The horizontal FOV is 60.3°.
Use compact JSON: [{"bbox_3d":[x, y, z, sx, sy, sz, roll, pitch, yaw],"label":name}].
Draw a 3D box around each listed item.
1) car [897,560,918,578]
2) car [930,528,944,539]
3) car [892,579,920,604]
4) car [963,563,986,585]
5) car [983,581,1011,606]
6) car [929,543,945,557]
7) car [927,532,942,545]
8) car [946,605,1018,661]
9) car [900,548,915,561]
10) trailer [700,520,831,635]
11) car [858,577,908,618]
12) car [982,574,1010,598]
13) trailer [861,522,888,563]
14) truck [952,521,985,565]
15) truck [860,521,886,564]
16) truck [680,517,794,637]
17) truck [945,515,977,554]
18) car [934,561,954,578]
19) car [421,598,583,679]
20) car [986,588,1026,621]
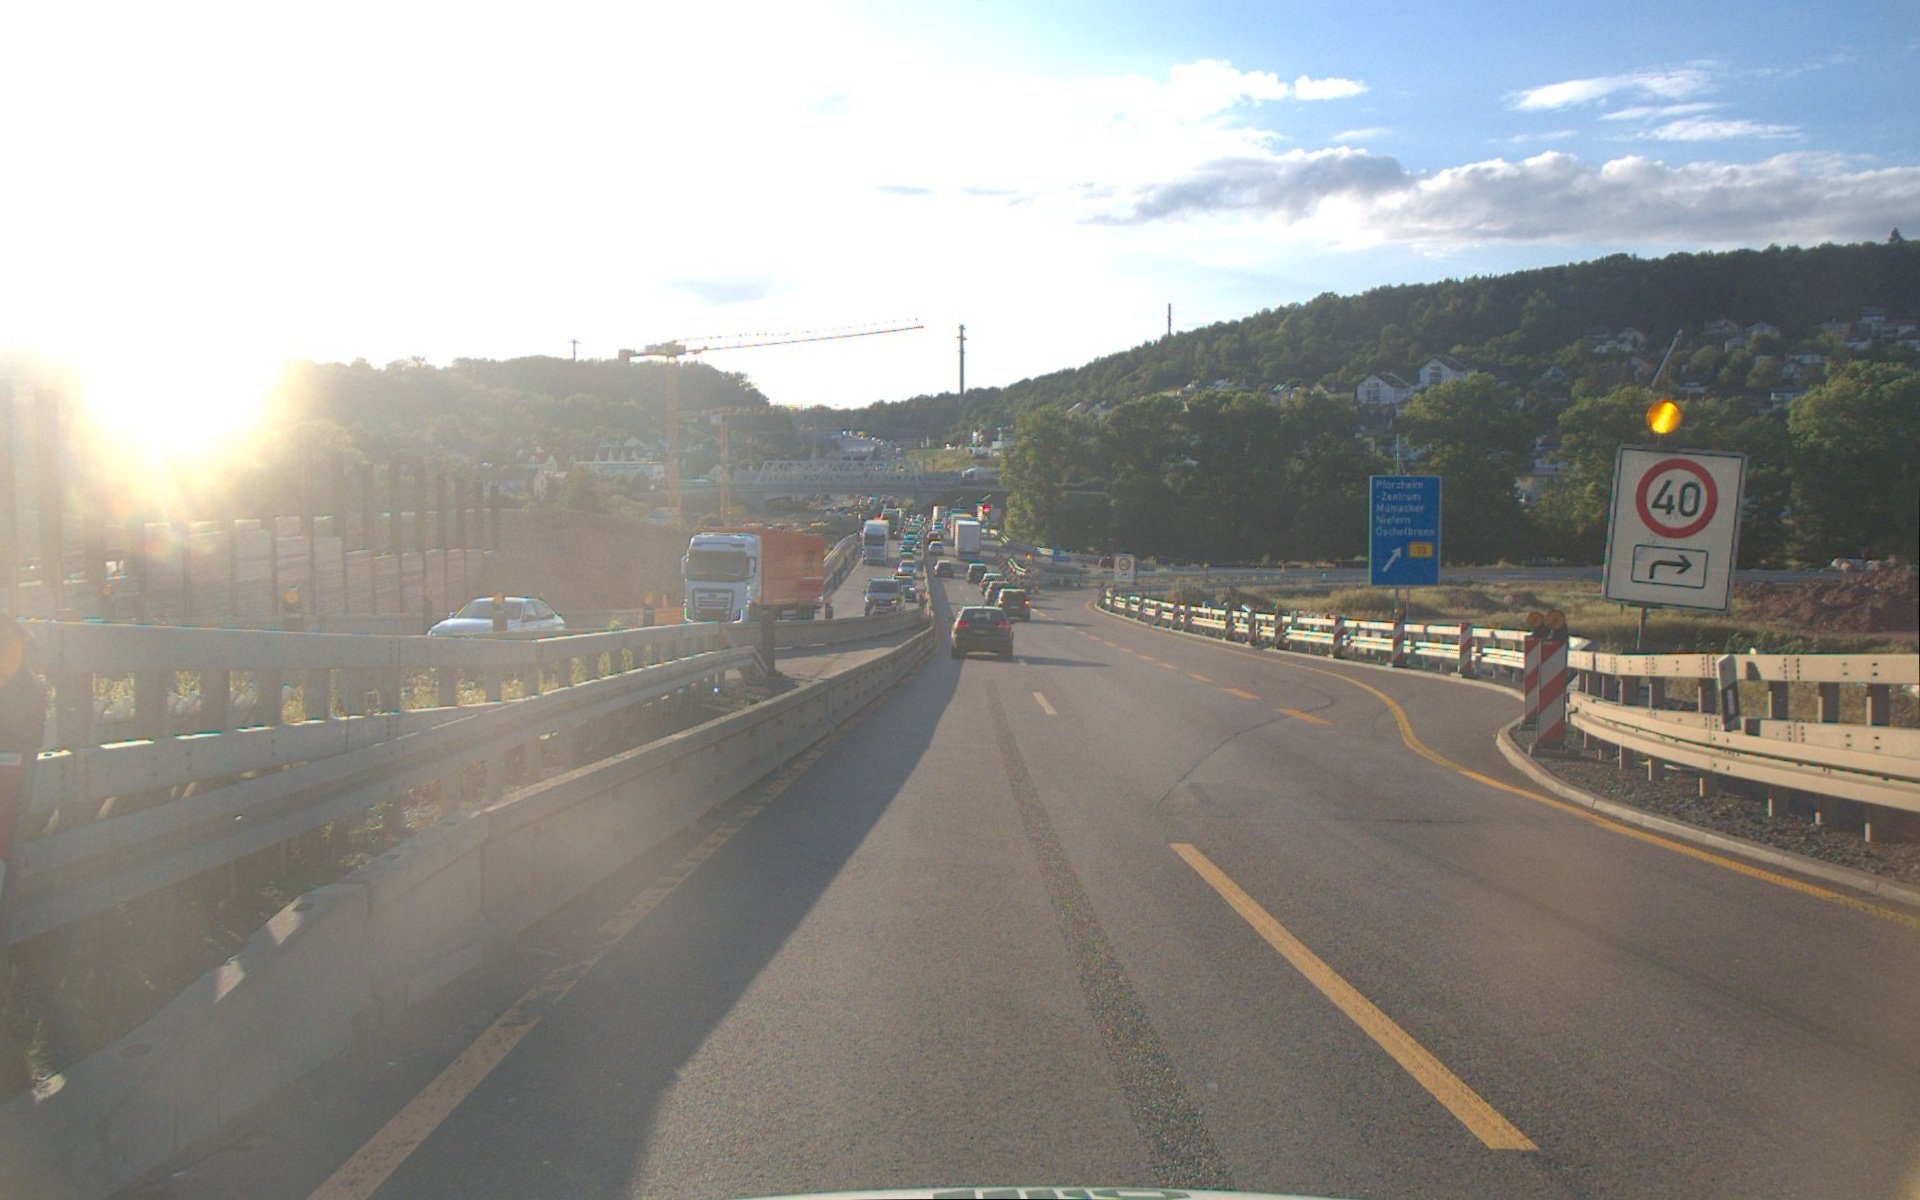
[{"bbox_3d":[-4.780,-2.822,151.343,1.752,1.514,4.219,2,1,0],"label":"car"},{"bbox_3d":[-3.354,-9.666,240.955,1.884,1.579,4.000,1,2,-1],"label":"car"},{"bbox_3d":[-3.712,-0.591,113.792,1.752,1.647,4.873,2,1,0],"label":"car"},{"bbox_3d":[1.276,-2.283,144.356,1.778,1.660,4.411,1,3,-2],"label":"car"},{"bbox_3d":[2.457,-0.418,110.069,1.738,1.614,4.134,1,0,0],"label":"car"},{"bbox_3d":[-2.726,-5.917,195.520,1.884,1.578,4.001,1,3,-1],"label":"car"},{"bbox_3d":[-3.423,-8.229,222.022,1.884,1.579,4.000,1,2,-1],"label":"car"},{"bbox_3d":[0.571,0.906,46.629,1.735,1.414,3.998,1,1,-3],"label":"car"},{"bbox_3d":[-6.224,-5.381,196.202,1.799,1.434,4.495,1,2,-2],"label":"car"},{"bbox_3d":[-8.392,-0.920,73.732,2.529,4.549,14.146,2,0,6],"label":"trailer"},{"bbox_3d":[-4.067,-0.145,88.158,1.952,2.049,5.259,2,0,4],"label":"car"},{"bbox_3d":[2.719,-1.091,125.843,1.838,1.627,4.965,1,3,-3],"label":"car"},{"bbox_3d":[-9.326,-6.245,180.742,2.480,4.286,13.932,2,1,-2],"label":"trailer"},{"bbox_3d":[0.911,-6.574,187.912,3.317,4.575,15.270,1,4,-1],"label":"truck"},{"bbox_3d":[-9.142,-6.037,174.627,2.501,4.294,6.049,2,1,-2],"label":"truck"},{"bbox_3d":[-9.035,-0.901,67.984,2.529,4.549,8.338,2,0,6],"label":"truck"},{"bbox_3d":[0.048,-8.789,218.751,3.812,4.574,15.270,1,4,-2],"label":"truck"},{"bbox_3d":[-1.509,-2.880,153.533,1.825,1.444,4.000,1,2,-1],"label":"car"},{"bbox_3d":[-9.972,0.804,36.373,1.693,1.628,4.665,1,0,8],"label":"car"},{"bbox_3d":[2.377,0.241,87.194,1.776,1.643,4.524,1,0,-2],"label":"car"}]
